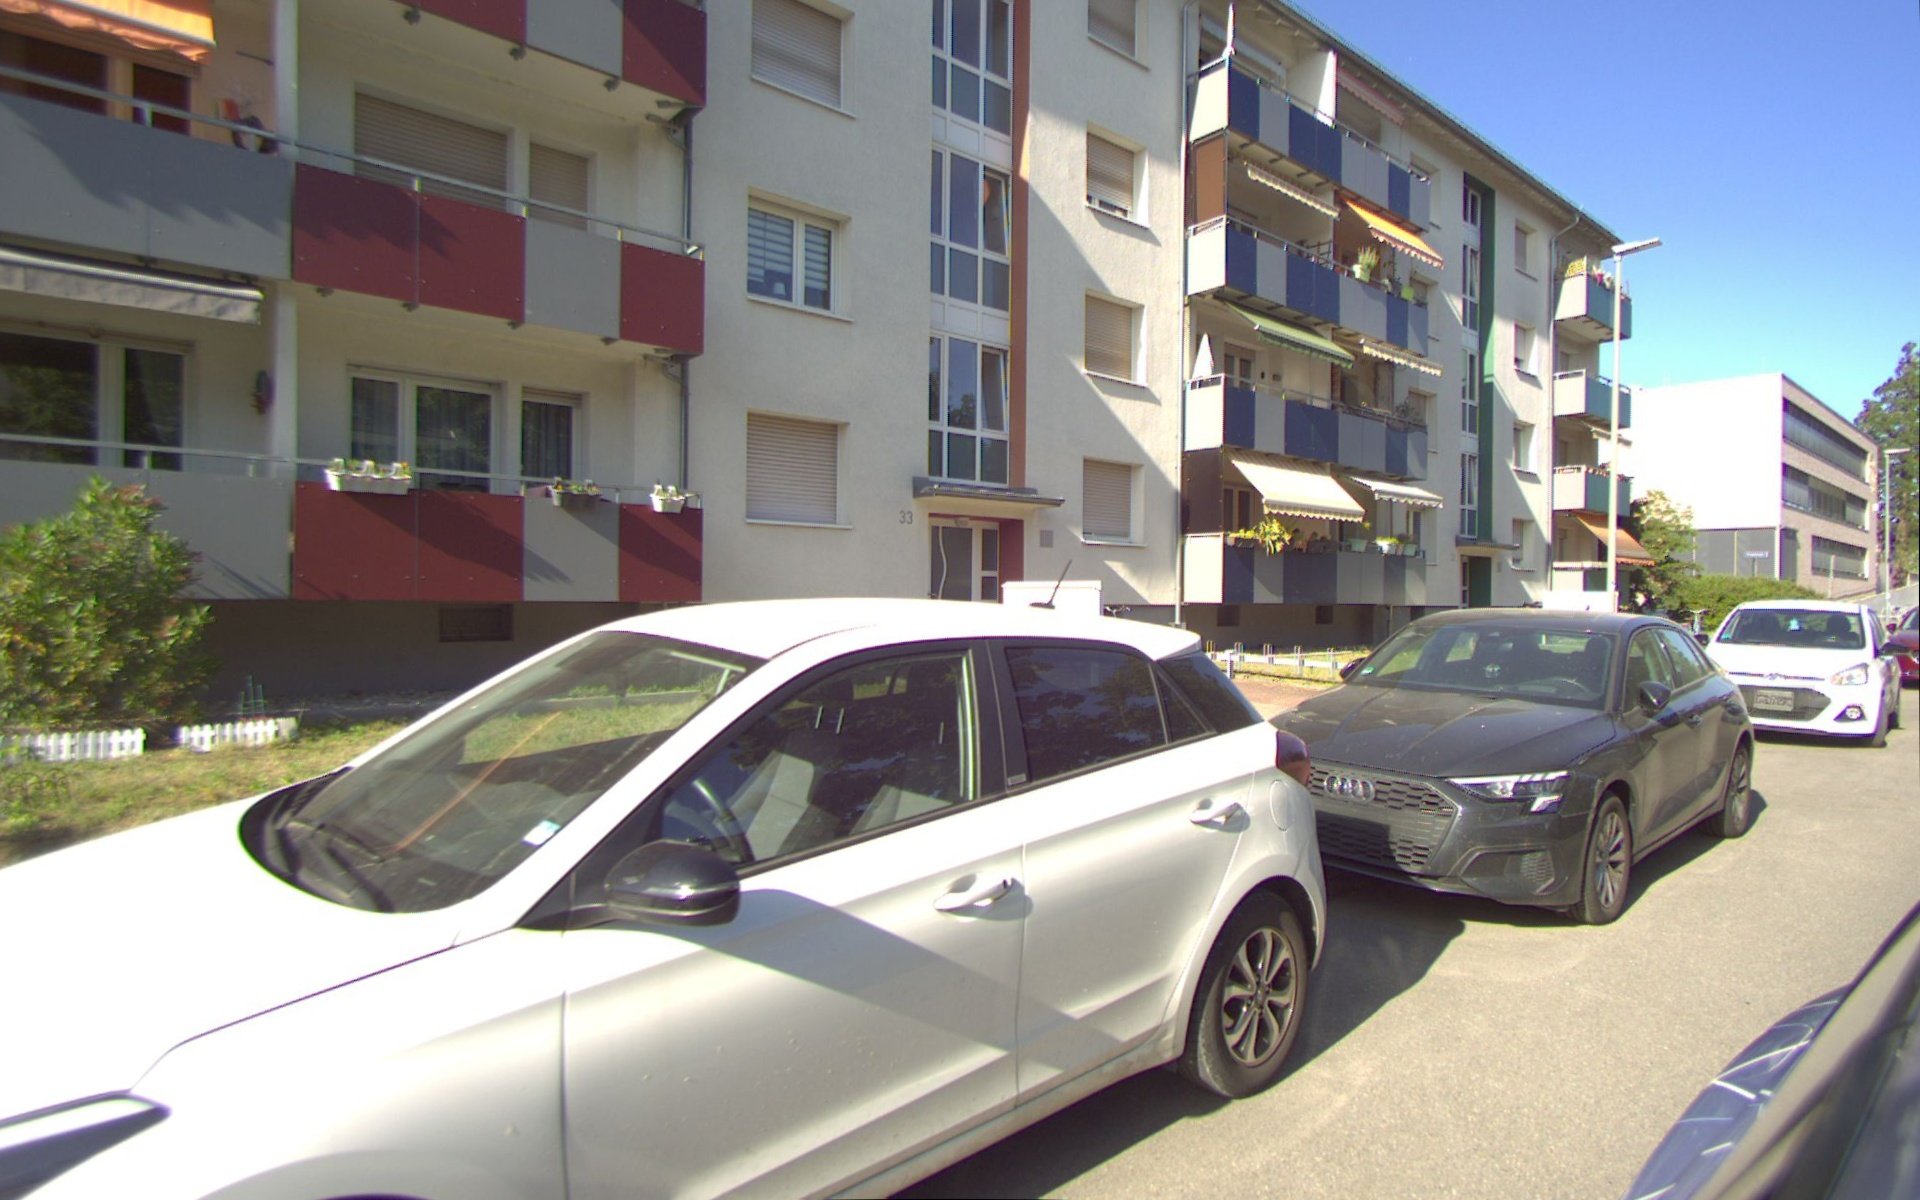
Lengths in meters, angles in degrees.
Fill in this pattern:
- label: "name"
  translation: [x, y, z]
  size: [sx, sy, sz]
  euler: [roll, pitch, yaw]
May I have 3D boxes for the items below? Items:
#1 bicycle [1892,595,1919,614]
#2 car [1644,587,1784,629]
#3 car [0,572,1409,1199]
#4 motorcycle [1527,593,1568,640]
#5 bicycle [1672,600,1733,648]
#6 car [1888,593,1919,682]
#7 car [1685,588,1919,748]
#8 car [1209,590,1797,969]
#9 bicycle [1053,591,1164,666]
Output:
- label: "bicycle"
  translation: [58.840, 0.283, 62.279]
  size: [0.867, 1.076, 2.029]
  euler: [0, 4, -40]
- label: "car"
  translation: [31.329, 0.298, 42.132]
  size: [1.881, 1.644, 4.414]
  euler: [0, 1, -42]
- label: "car"
  translation: [-0.605, 0.677, 2.765]
  size: [4.079, 1.453, 1.725]
  euler: [0, 1, -40]
- label: "motorcycle"
  translation: [15.622, 0.416, 26.900]
  size: [0.582, 1.166, 2.007]
  euler: [1, 1, 41]
- label: "bicycle"
  translation: [17.866, 0.554, 24.350]
  size: [1.862, 1.091, 0.721]
  euler: [0, 0, -39]
- label: "car"
  translation: [18.370, 0.634, 18.255]
  size: [4.976, 1.491, 1.846]
  euler: [0, 1, -41]
- label: "car"
  translation: [9.882, 0.634, 11.681]
  size: [3.796, 1.517, 1.750]
  euler: [0, 1, -43]
- label: "car"
  translation: [3.526, 0.702, 6.139]
  size: [4.394, 1.453, 1.702]
  euler: [0, 2, -42]
- label: "bicycle"
  translation: [2.328, 0.413, 15.715]
  size: [1.975, 1.084, 0.524]
  euler: [0, 3, -41]
